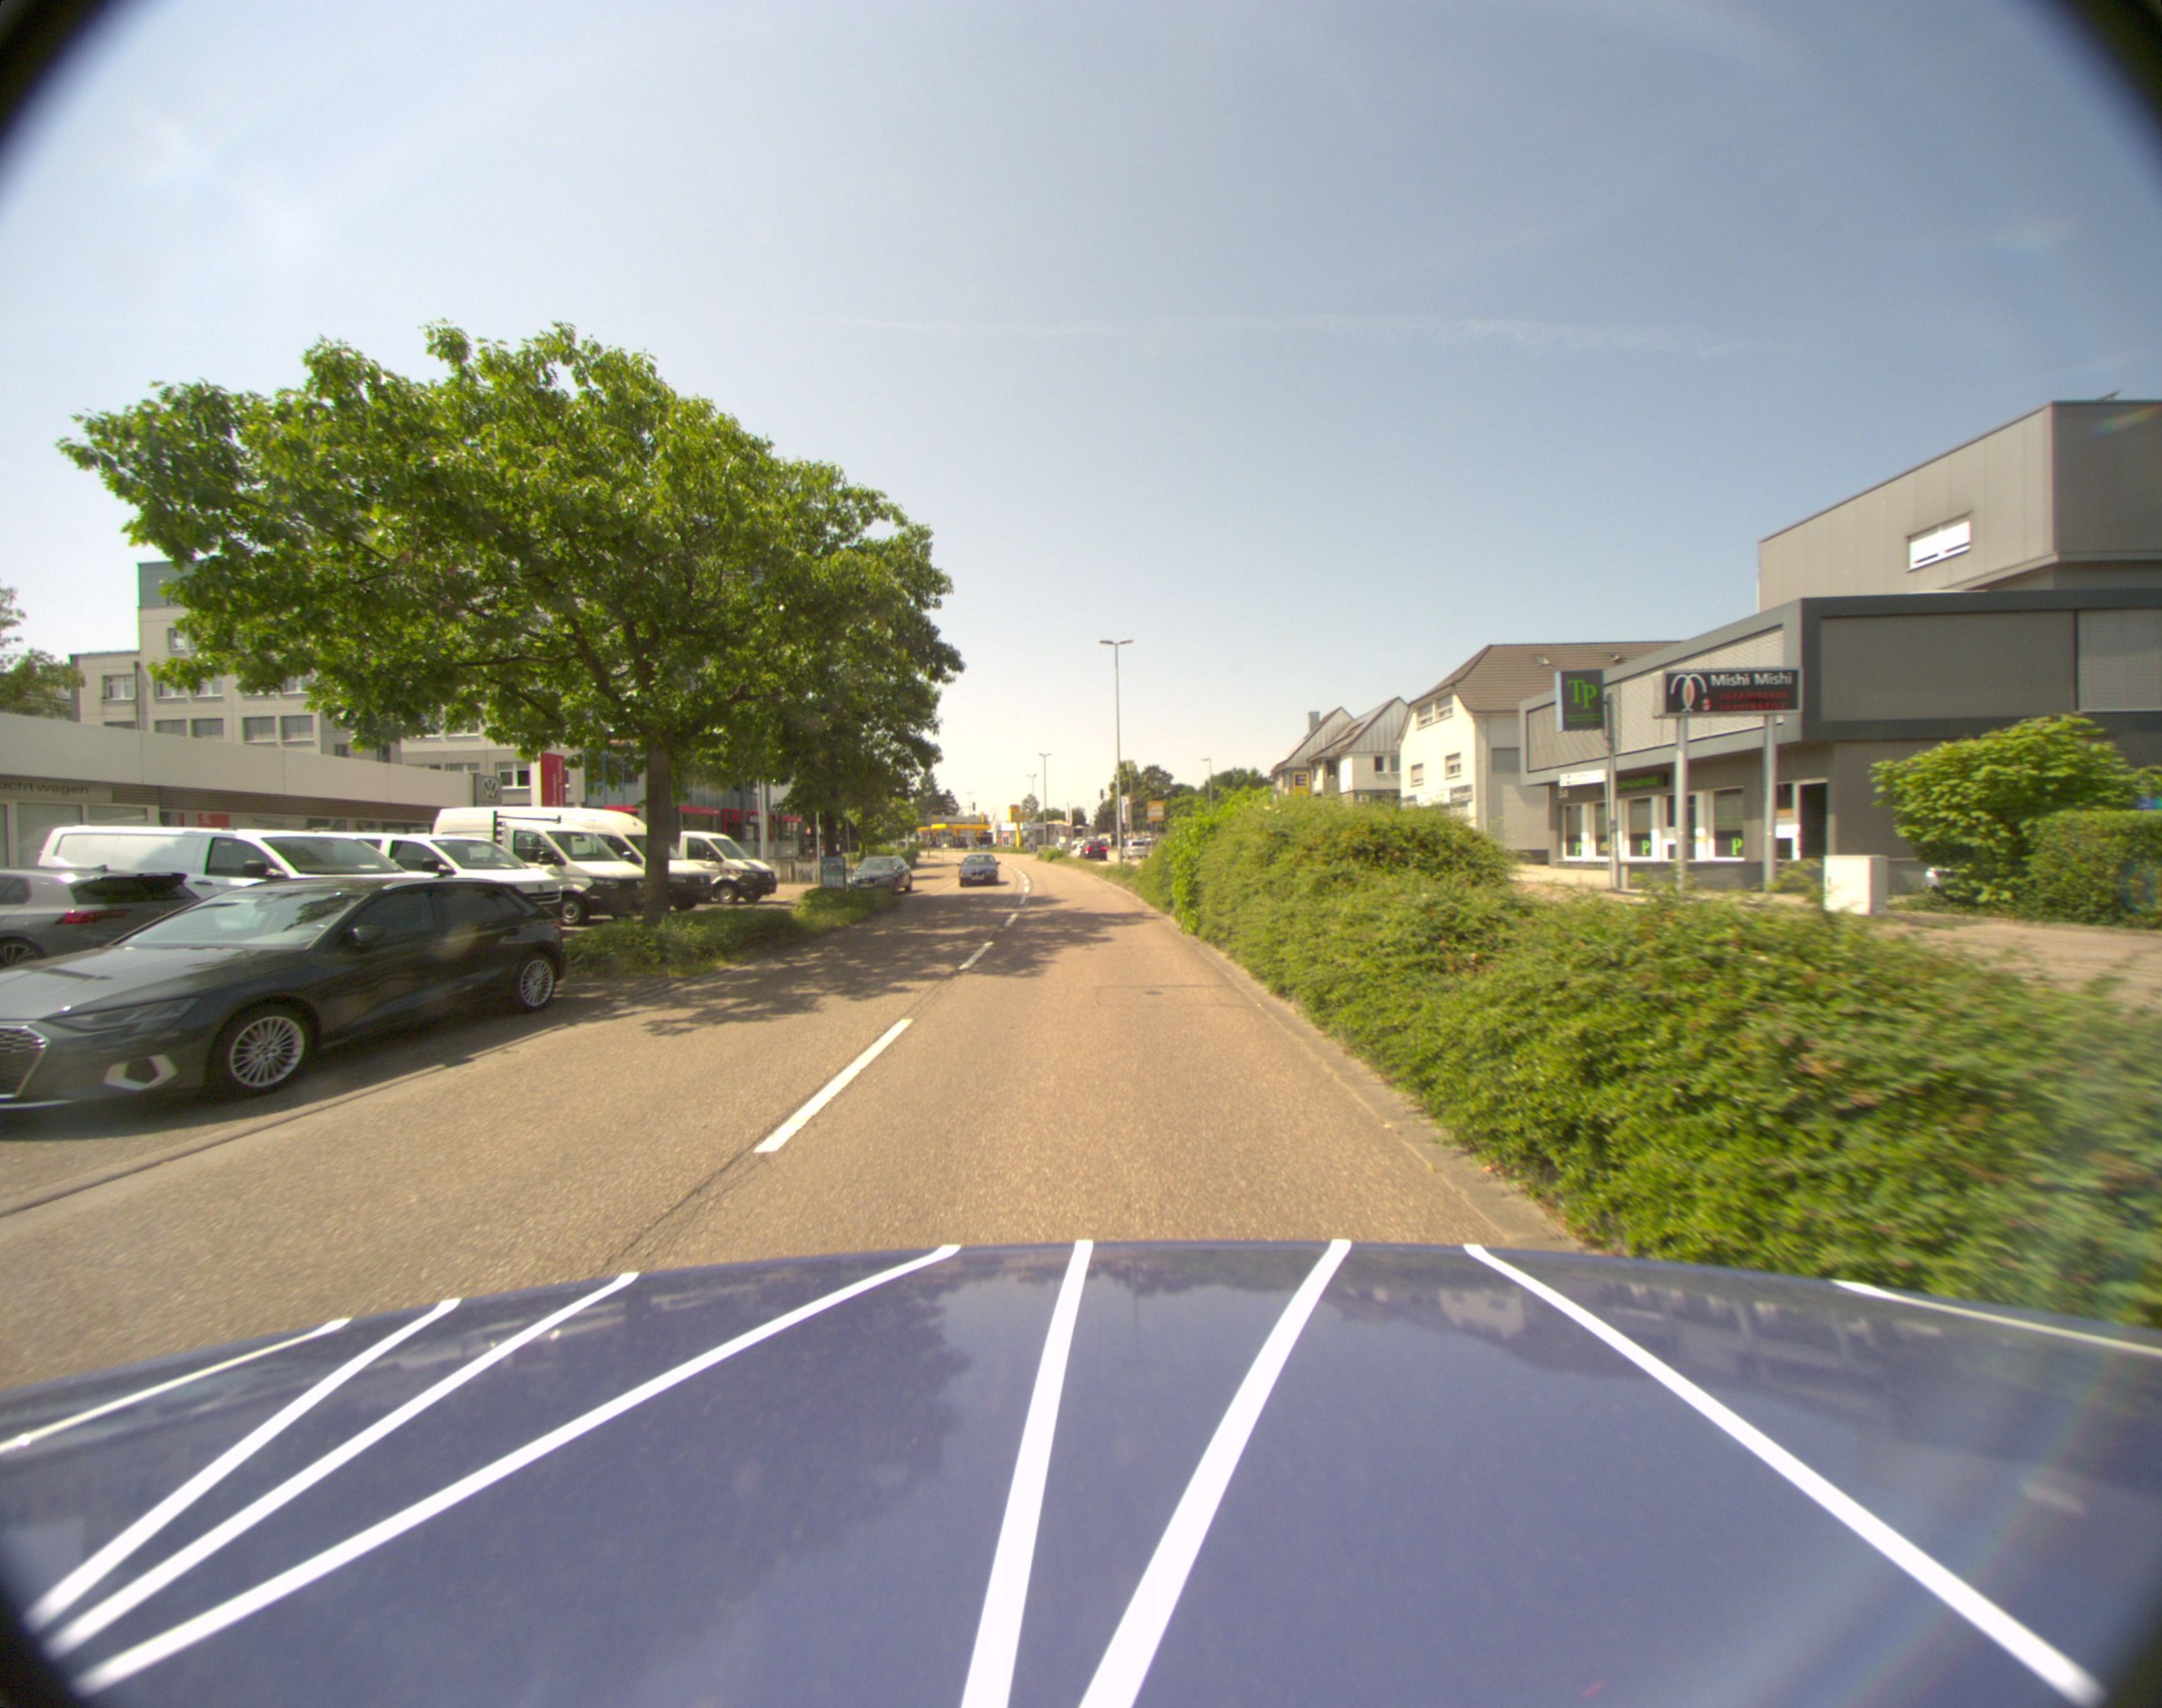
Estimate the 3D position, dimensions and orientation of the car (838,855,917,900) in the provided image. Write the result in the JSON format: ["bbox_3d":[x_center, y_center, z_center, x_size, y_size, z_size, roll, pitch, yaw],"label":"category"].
[{"bbox_3d":[-7.542,0.806,28.593,1.802,1.398,4.319,-2,1,-1],"label":"car"}]

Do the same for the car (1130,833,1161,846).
[{"bbox_3d":[9.773,-2.206,115.051,4.300,1.891,1.831,1,3,19],"label":"car"}]

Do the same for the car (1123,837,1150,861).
[{"bbox_3d":[4.725,-0.403,64.863,1.785,1.618,4.342,1,-5,-3],"label":"car"}]

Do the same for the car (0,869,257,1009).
[{"bbox_3d":[-13.318,0.963,9.337,4.035,1.462,1.913,2,0,-6],"label":"car"}]

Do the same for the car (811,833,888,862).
[{"bbox_3d":[-15.800,-0.467,51.907,4.745,1.704,1.995,-3,3,-24],"label":"car"}]

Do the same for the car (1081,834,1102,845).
[{"bbox_3d":[1.743,-2.292,122.135,1.914,1.532,3.967,-1,2,22],"label":"car"}]

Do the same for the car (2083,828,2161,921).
[{"bbox_3d":[17.753,0.325,11.030,4.006,1.363,1.669,1,0,3],"label":"car"}]

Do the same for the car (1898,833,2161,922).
[{"bbox_3d":[17.651,0.378,13.852,3.998,1.451,1.574,-1,2,-4],"label":"car"}]

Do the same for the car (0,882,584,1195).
[{"bbox_3d":[-6.403,1.063,6.228,1.686,1.427,4.438,0,1,0],"label":"car"}]

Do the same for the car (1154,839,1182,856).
[{"bbox_3d":[8.655,-0.690,76.226,1.810,1.346,4.352,-8,2,-4],"label":"car"}]

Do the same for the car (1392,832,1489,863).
[{"bbox_3d":[18.448,-0.370,39.100,4.067,1.512,1.999,-1,2,-2],"label":"car"}]

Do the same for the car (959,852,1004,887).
[{"bbox_3d":[-4.355,0.637,33.719,1.698,1.366,3.997,-1,1,-4],"label":"car"}]

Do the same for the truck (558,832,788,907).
[{"bbox_3d":[-13.178,0.472,24.821,6.260,2.323,2.369,0,0,2],"label":"truck"}]

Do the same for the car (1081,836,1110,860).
[{"bbox_3d":[1.165,-0.546,63.300,1.914,1.741,4.756,-2,2,-4],"label":"car"}]

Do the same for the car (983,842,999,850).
[{"bbox_3d":[-15.812,-1.458,132.934,1.871,1.358,4.338,1,1,-20],"label":"car"}]

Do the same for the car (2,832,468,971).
[{"bbox_3d":[-12.960,0.660,11.926,4.925,1.960,2.141,0,1,1],"label":"car"}]

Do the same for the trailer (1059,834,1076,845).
[{"bbox_3d":[-2.284,-2.463,127.389,1.689,1.694,2.438,-1,2,30],"label":"trailer"}]

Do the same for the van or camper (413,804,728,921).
[{"bbox_3d":[-13.392,0.218,20.270,6.813,2.881,2.275,0,1,0],"label":"van or camper"}]

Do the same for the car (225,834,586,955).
[{"bbox_3d":[-12.739,0.712,14.627,4.961,2.101,2.159,-1,1,0],"label":"car"}]

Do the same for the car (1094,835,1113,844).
[{"bbox_3d":[3.560,-2.309,120.191,1.712,1.424,3.967,0,3,21],"label":"car"}]

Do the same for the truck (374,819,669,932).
[{"bbox_3d":[-12.651,0.449,17.425,5.259,2.422,2.111,0,1,2],"label":"truck"}]

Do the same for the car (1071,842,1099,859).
[{"bbox_3d":[0.334,-0.357,69.454,1.869,1.423,4.739,-2,2,-9],"label":"car"}]

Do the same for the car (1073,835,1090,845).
[{"bbox_3d":[0.089,-2.260,124.172,1.754,1.501,3.823,-1,2,18],"label":"car"}]
